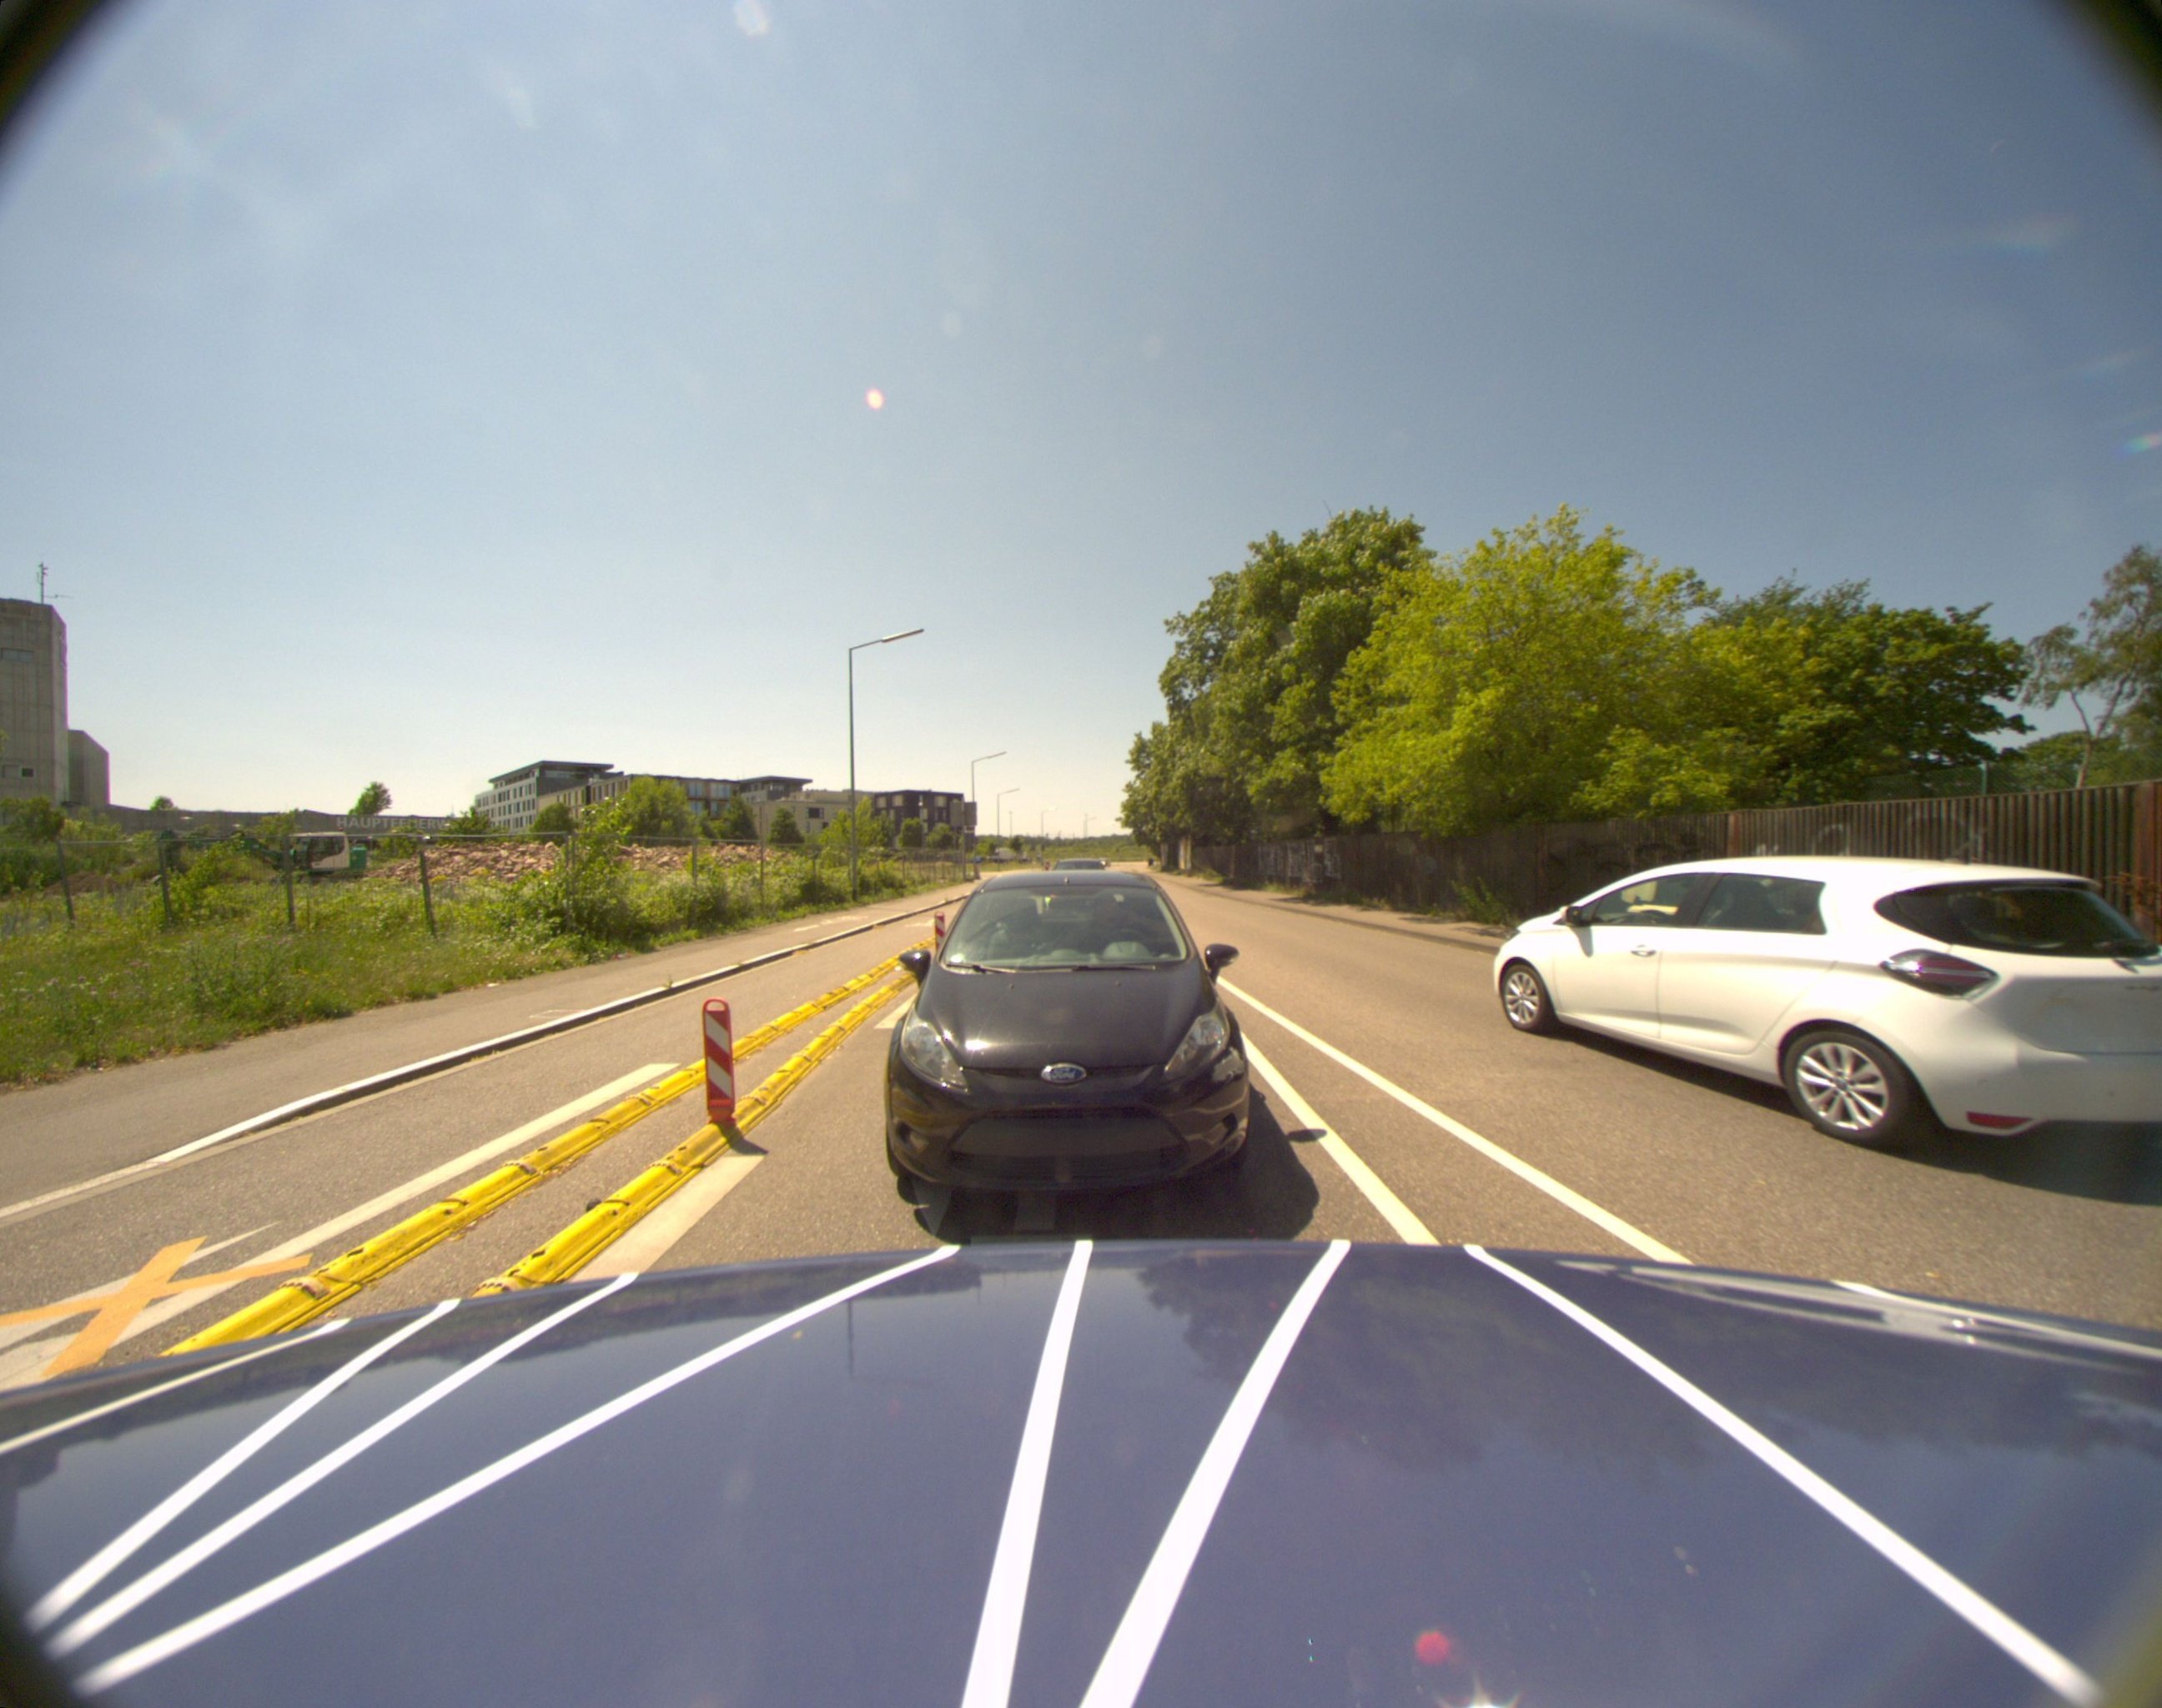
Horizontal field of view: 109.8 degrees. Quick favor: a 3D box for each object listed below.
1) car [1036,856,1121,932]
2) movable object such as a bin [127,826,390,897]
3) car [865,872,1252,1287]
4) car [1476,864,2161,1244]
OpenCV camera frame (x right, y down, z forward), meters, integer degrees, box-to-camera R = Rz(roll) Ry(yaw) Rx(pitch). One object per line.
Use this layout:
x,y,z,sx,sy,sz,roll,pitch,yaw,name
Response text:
-0.020,0.942,20.060,1.924,1.643,4.668,-2,1,1,car
-38.339,0.272,35.936,3.231,2.899,7.702,-2,1,15,movable object such as a bin
-0.064,0.980,5.113,1.528,1.510,3.999,-2,1,1,car
4.706,0.861,5.173,1.781,1.518,3.871,-1,0,-5,car
